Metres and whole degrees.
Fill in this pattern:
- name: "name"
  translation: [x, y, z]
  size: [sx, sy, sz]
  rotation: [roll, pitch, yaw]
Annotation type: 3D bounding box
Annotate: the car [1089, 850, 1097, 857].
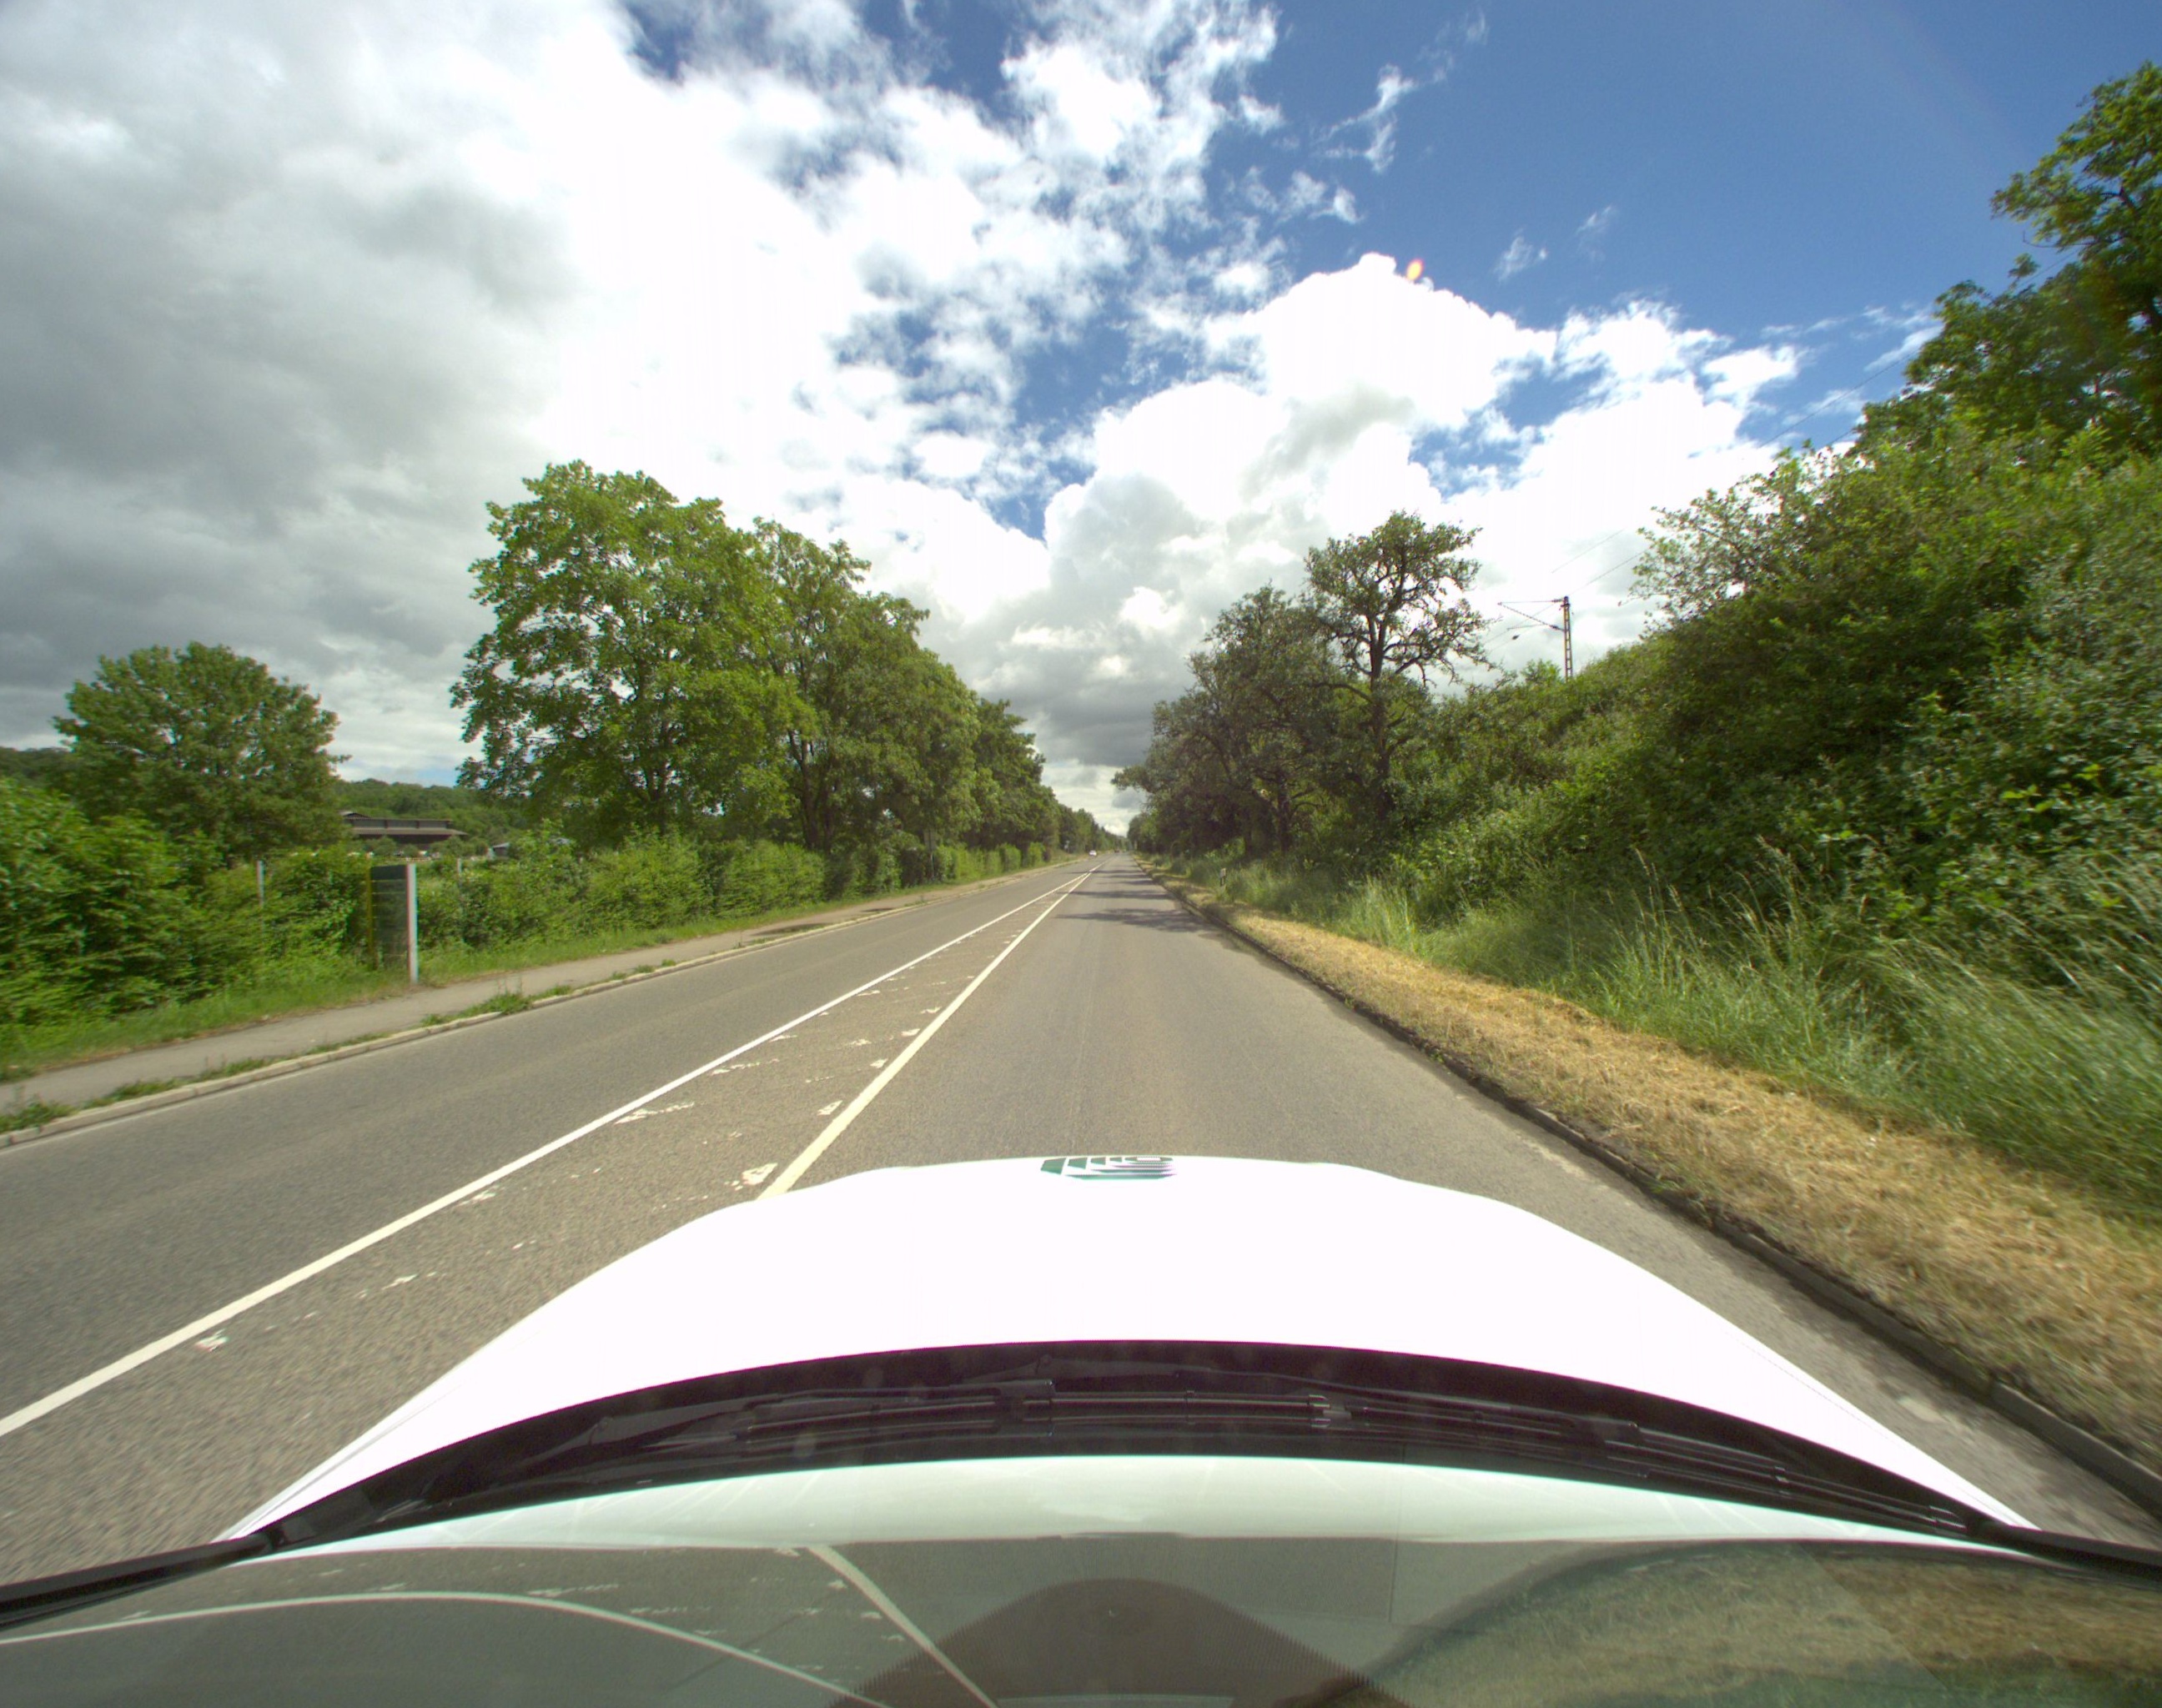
- name: "car"
  translation: [3.288, -0.111, 218.100]
  size: [1.790, 1.543, 3.958]
  rotation: [-2, -1, 3]
